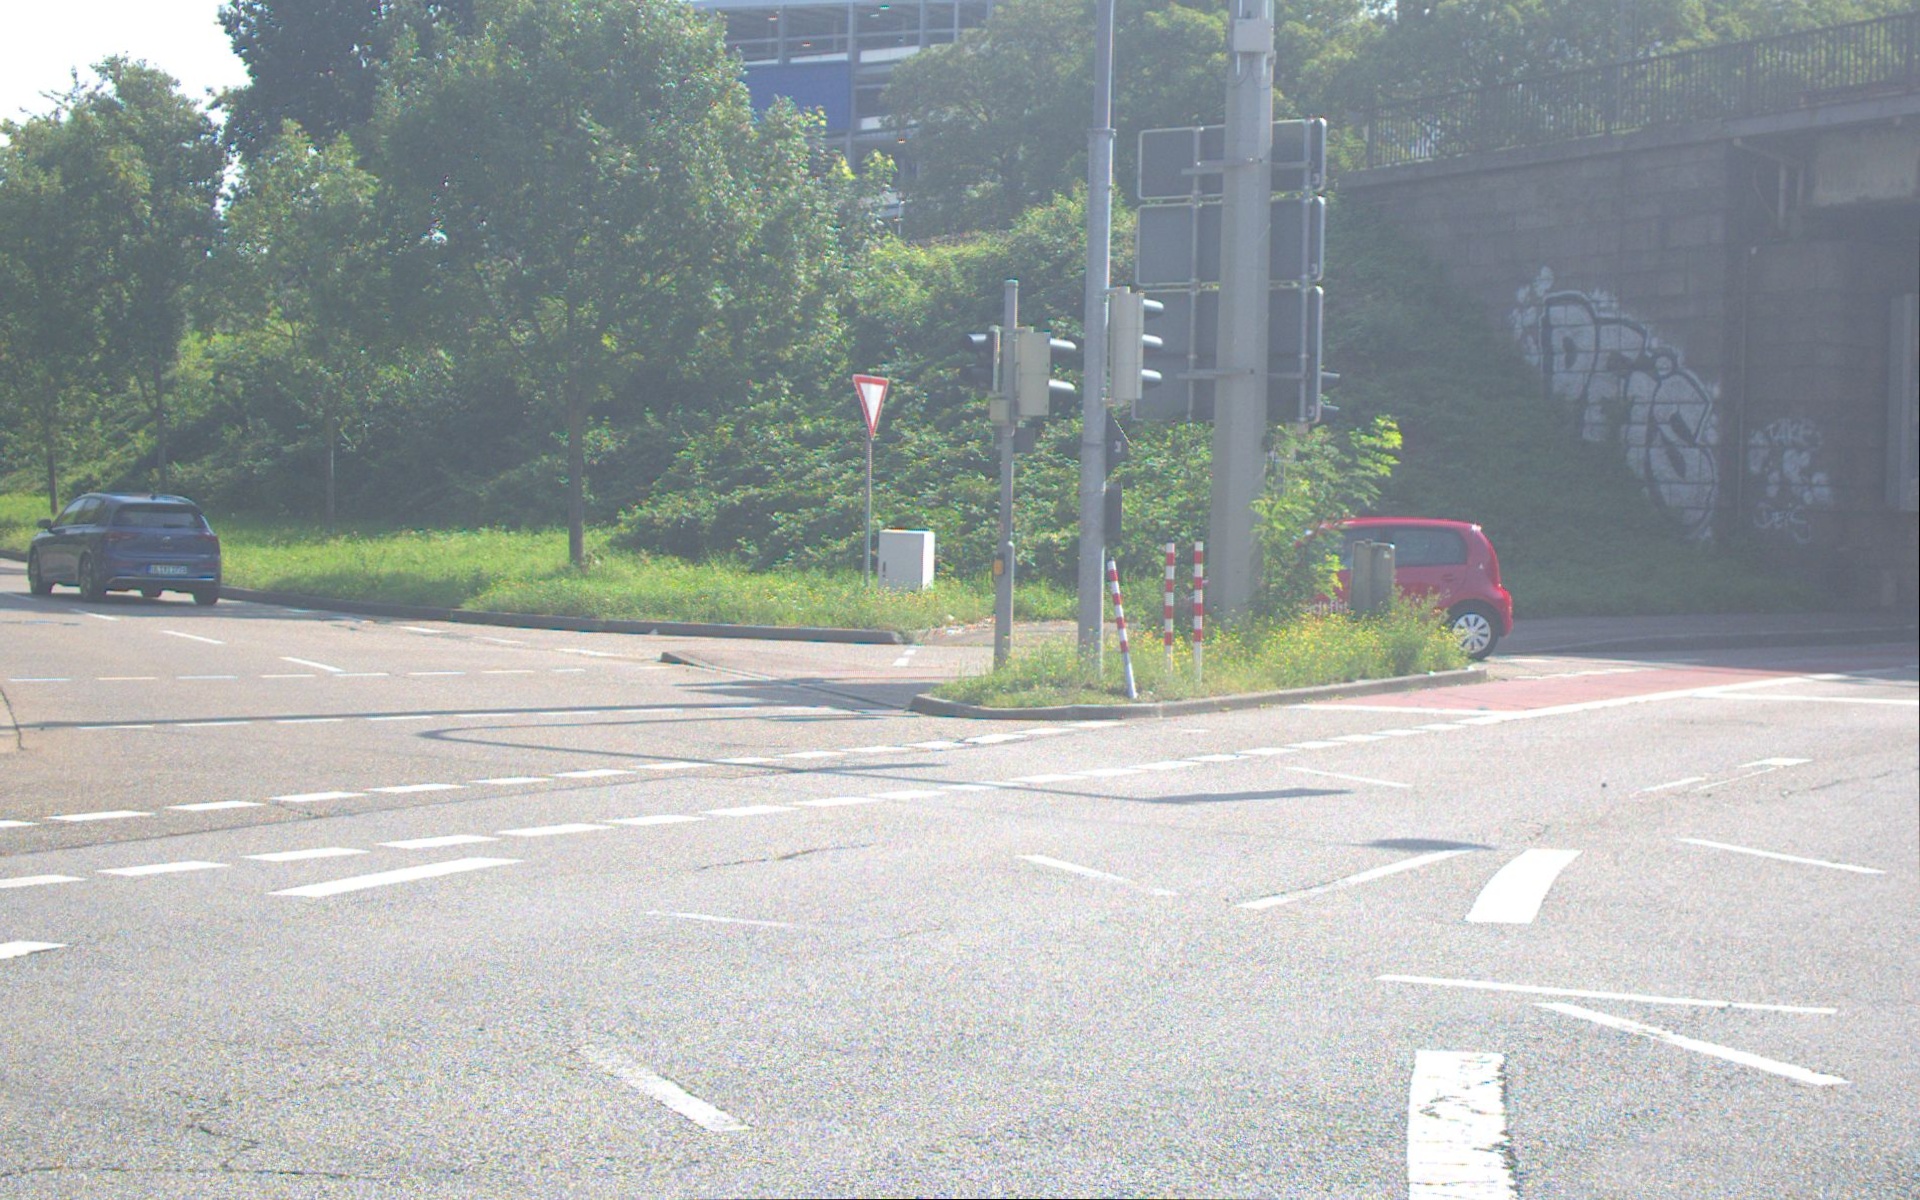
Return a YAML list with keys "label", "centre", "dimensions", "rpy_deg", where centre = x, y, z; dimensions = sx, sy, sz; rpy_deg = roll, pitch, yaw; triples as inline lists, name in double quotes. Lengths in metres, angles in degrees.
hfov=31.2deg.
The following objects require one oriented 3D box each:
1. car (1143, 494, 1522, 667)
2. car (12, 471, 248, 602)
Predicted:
- label: "car"
  centre: [3.836, -0.218, 35.705]
  dimensions: [3.541, 1.462, 1.644]
  rpy_deg: [4, 3, -6]
- label: "car"
  centre: [-11.112, -0.866, 45.832]
  dimensions: [1.780, 1.422, 4.001]
  rpy_deg: [1, 4, -33]
